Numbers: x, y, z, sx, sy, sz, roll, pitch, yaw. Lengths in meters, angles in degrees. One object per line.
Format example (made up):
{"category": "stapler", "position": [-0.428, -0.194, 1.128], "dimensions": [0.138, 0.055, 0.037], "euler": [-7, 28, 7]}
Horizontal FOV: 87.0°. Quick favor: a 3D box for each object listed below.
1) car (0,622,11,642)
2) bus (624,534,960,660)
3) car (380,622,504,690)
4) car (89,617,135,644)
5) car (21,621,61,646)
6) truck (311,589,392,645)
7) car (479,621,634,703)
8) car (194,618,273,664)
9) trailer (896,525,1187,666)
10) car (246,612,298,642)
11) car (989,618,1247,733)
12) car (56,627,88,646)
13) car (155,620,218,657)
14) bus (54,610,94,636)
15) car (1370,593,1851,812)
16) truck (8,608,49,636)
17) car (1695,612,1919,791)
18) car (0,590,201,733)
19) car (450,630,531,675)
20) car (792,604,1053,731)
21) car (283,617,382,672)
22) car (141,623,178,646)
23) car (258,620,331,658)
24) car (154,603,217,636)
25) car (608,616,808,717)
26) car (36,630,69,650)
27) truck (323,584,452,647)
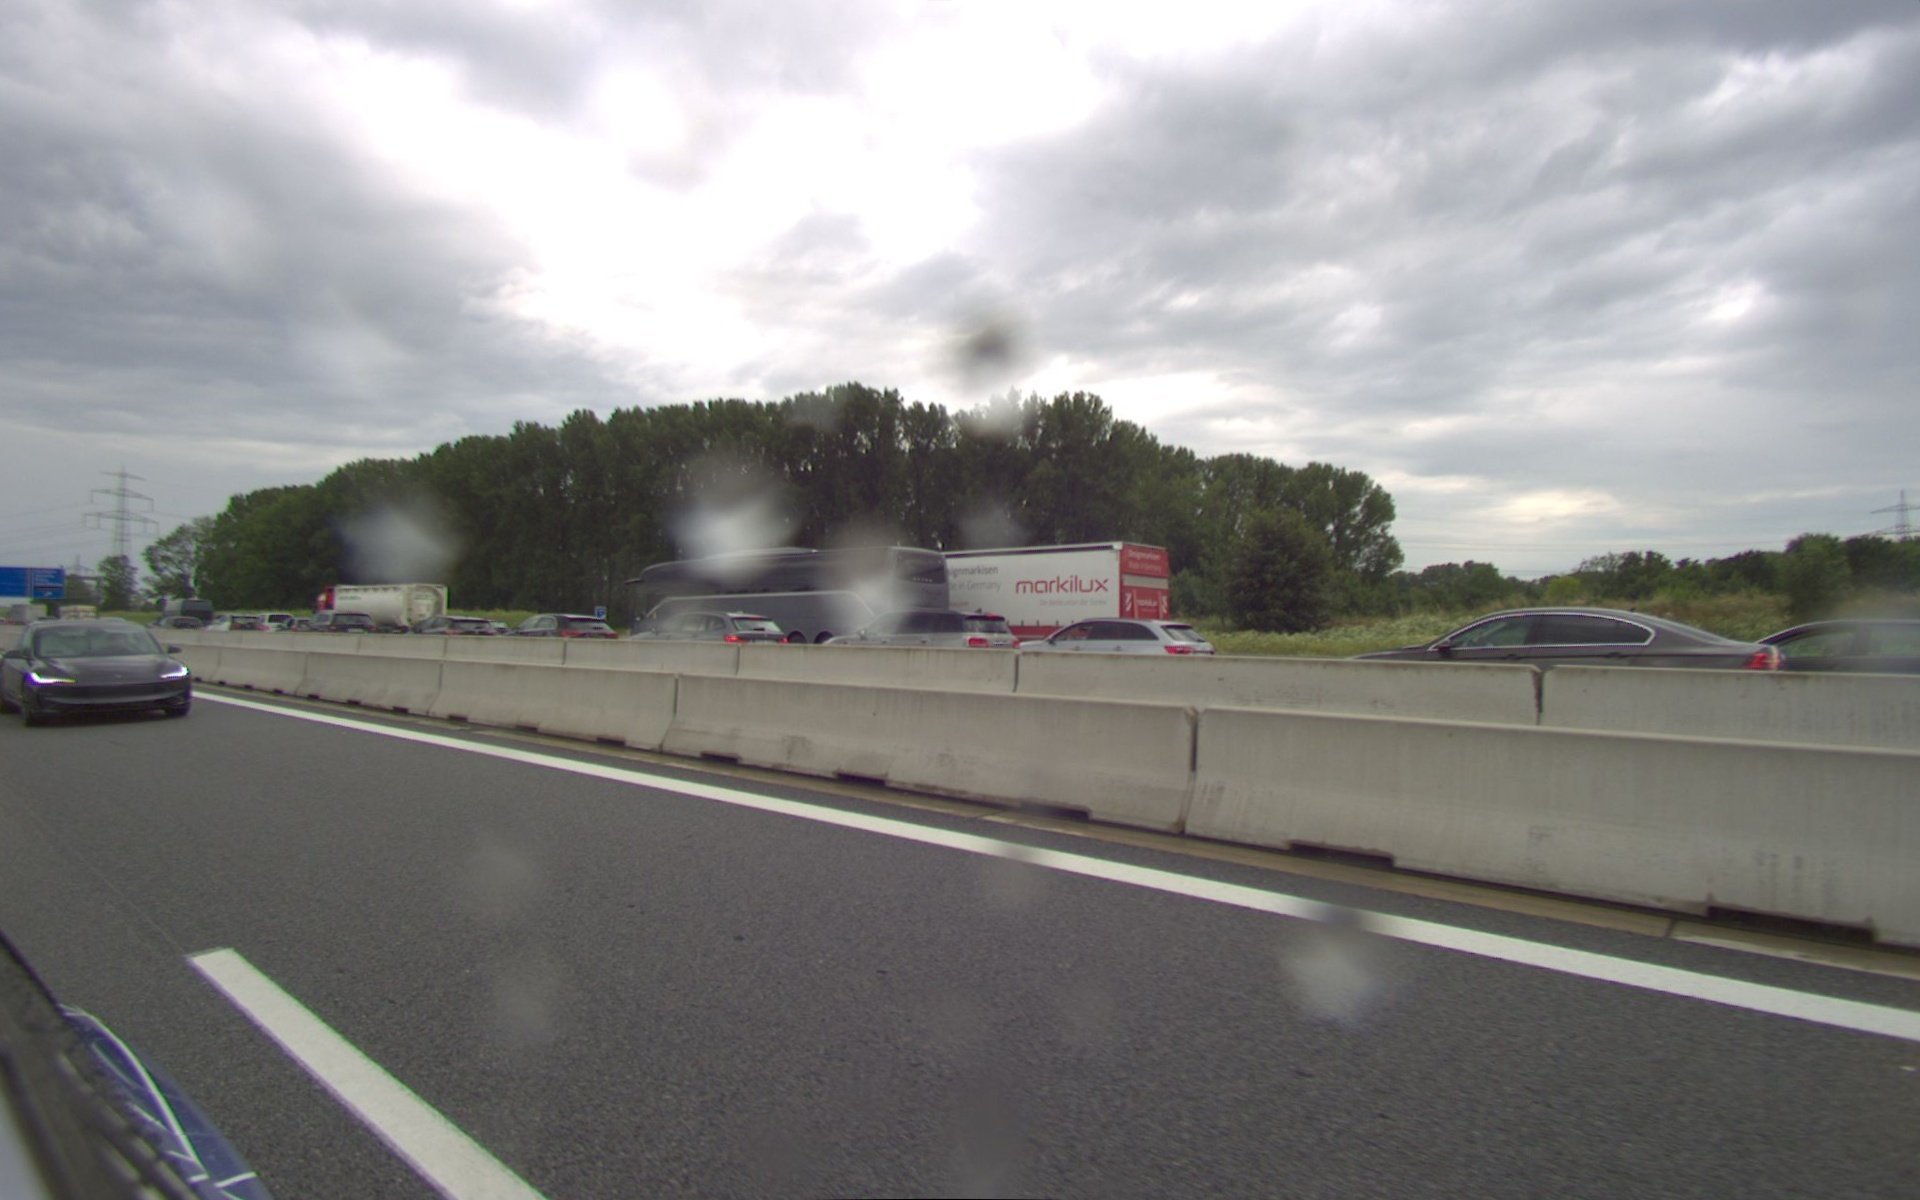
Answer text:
{"category": "car", "position": [-103.722, 3.450, 108.757], "dimensions": [5.177, 2.029, 1.974], "euler": [-1, -1, 40]}
{"category": "bus", "position": [-6.116, 0.044, 33.178], "dimensions": [13.992, 3.411, 2.659], "euler": [-1, -1, 42]}
{"category": "car", "position": [-16.541, 1.723, 32.218], "dimensions": [4.694, 1.982, 1.973], "euler": [-1, -1, 41]}
{"category": "car", "position": [-57.228, 2.059, 68.266], "dimensions": [3.998, 1.732, 1.785], "euler": [-1, -1, 41]}
{"category": "car", "position": [-75.889, 2.734, 83.554], "dimensions": [4.262, 2.029, 1.973], "euler": [-1, -1, 41]}
{"category": "truck", "position": [-42.476, 1.175, 70.534], "dimensions": [6.316, 3.740, 3.117], "euler": [-1, -1, 42]}
{"category": "car", "position": [-10.867, 1.563, 27.093], "dimensions": [4.694, 1.982, 1.973], "euler": [-1, -1, 41]}
{"category": "car", "position": [-33.530, 1.853, 46.683], "dimensions": [4.694, 1.982, 1.973], "euler": [-1, -1, 41]}
{"category": "trailer", "position": [2.237, -0.028, 31.406], "dimensions": [9.157, 3.791, 2.830], "euler": [-1, -2, 42]}
{"category": "car", "position": [-46.725, 1.829, 68.697], "dimensions": [4.211, 1.962, 1.973], "euler": [-1, -1, 41]}
{"category": "car", "position": [3.003, 1.364, 19.936], "dimensions": [4.694, 1.982, 1.973], "euler": [-1, -1, 41]}
{"category": "car", "position": [-100.597, 4.093, 114.647], "dimensions": [4.804, 2.029, 1.974], "euler": [-1, -1, 40]}
{"category": "car", "position": [-43.615, 2.152, 57.017], "dimensions": [4.694, 1.982, 1.973], "euler": [-1, -1, 41]}
{"category": "bus", "position": [-119.355, 3.136, 136.341], "dimensions": [9.959, 3.358, 2.802], "euler": [-1, -1, 41]}
{"category": "car", "position": [7.255, 0.991, 11.571], "dimensions": [4.348, 2.029, 1.973], "euler": [-1, -1, 41]}
{"category": "truck", "position": [-150.044, 3.611, 162.914], "dimensions": [13.941, 4.345, 3.116], "euler": [-1, -1, 40]}
{"category": "car", "position": [11.427, 1.167, 12.422], "dimensions": [3.710, 2.029, 1.973], "euler": [-1, -1, 41]}
{"category": "car", "position": [-13.413, 0.831, 15.478], "dimensions": [5.162, 1.834, 1.972], "euler": [-1, -1, 42]}
{"category": "car", "position": [-22.503, 2.466, 48.445], "dimensions": [4.225, 2.029, 1.973], "euler": [-1, -1, 41]}
{"category": "car", "position": [-0.798, 1.120, 18.455], "dimensions": [4.694, 2.029, 1.973], "euler": [-1, -1, 41]}
{"category": "car", "position": [-24.108, 1.662, 38.829], "dimensions": [4.694, 1.982, 1.973], "euler": [-1, -1, 41]}
{"category": "car", "position": [-73.568, 3.175, 92.959], "dimensions": [4.225, 2.029, 1.973], "euler": [-1, -1, 41]}
{"category": "car", "position": [-35.539, 2.070, 54.003], "dimensions": [4.927, 1.918, 1.973], "euler": [-1, -1, 41]}
{"category": "car", "position": [-53.494, 1.320, 69.834], "dimensions": [6.814, 2.182, 2.235], "euler": [-1, -1, 42]}
{"category": "car", "position": [-5.634, 1.360, 22.302], "dimensions": [4.694, 1.982, 1.973], "euler": [-1, -1, 41]}
{"category": "car", "position": [-92.431, 4.057, 103.084], "dimensions": [4.533, 2.029, 1.831], "euler": [-1, -1, 40]}
{"category": "truck", "position": [-37.738, 1.036, 66.360], "dimensions": [13.292, 3.774, 3.116], "euler": [-1, -1, 41]}
